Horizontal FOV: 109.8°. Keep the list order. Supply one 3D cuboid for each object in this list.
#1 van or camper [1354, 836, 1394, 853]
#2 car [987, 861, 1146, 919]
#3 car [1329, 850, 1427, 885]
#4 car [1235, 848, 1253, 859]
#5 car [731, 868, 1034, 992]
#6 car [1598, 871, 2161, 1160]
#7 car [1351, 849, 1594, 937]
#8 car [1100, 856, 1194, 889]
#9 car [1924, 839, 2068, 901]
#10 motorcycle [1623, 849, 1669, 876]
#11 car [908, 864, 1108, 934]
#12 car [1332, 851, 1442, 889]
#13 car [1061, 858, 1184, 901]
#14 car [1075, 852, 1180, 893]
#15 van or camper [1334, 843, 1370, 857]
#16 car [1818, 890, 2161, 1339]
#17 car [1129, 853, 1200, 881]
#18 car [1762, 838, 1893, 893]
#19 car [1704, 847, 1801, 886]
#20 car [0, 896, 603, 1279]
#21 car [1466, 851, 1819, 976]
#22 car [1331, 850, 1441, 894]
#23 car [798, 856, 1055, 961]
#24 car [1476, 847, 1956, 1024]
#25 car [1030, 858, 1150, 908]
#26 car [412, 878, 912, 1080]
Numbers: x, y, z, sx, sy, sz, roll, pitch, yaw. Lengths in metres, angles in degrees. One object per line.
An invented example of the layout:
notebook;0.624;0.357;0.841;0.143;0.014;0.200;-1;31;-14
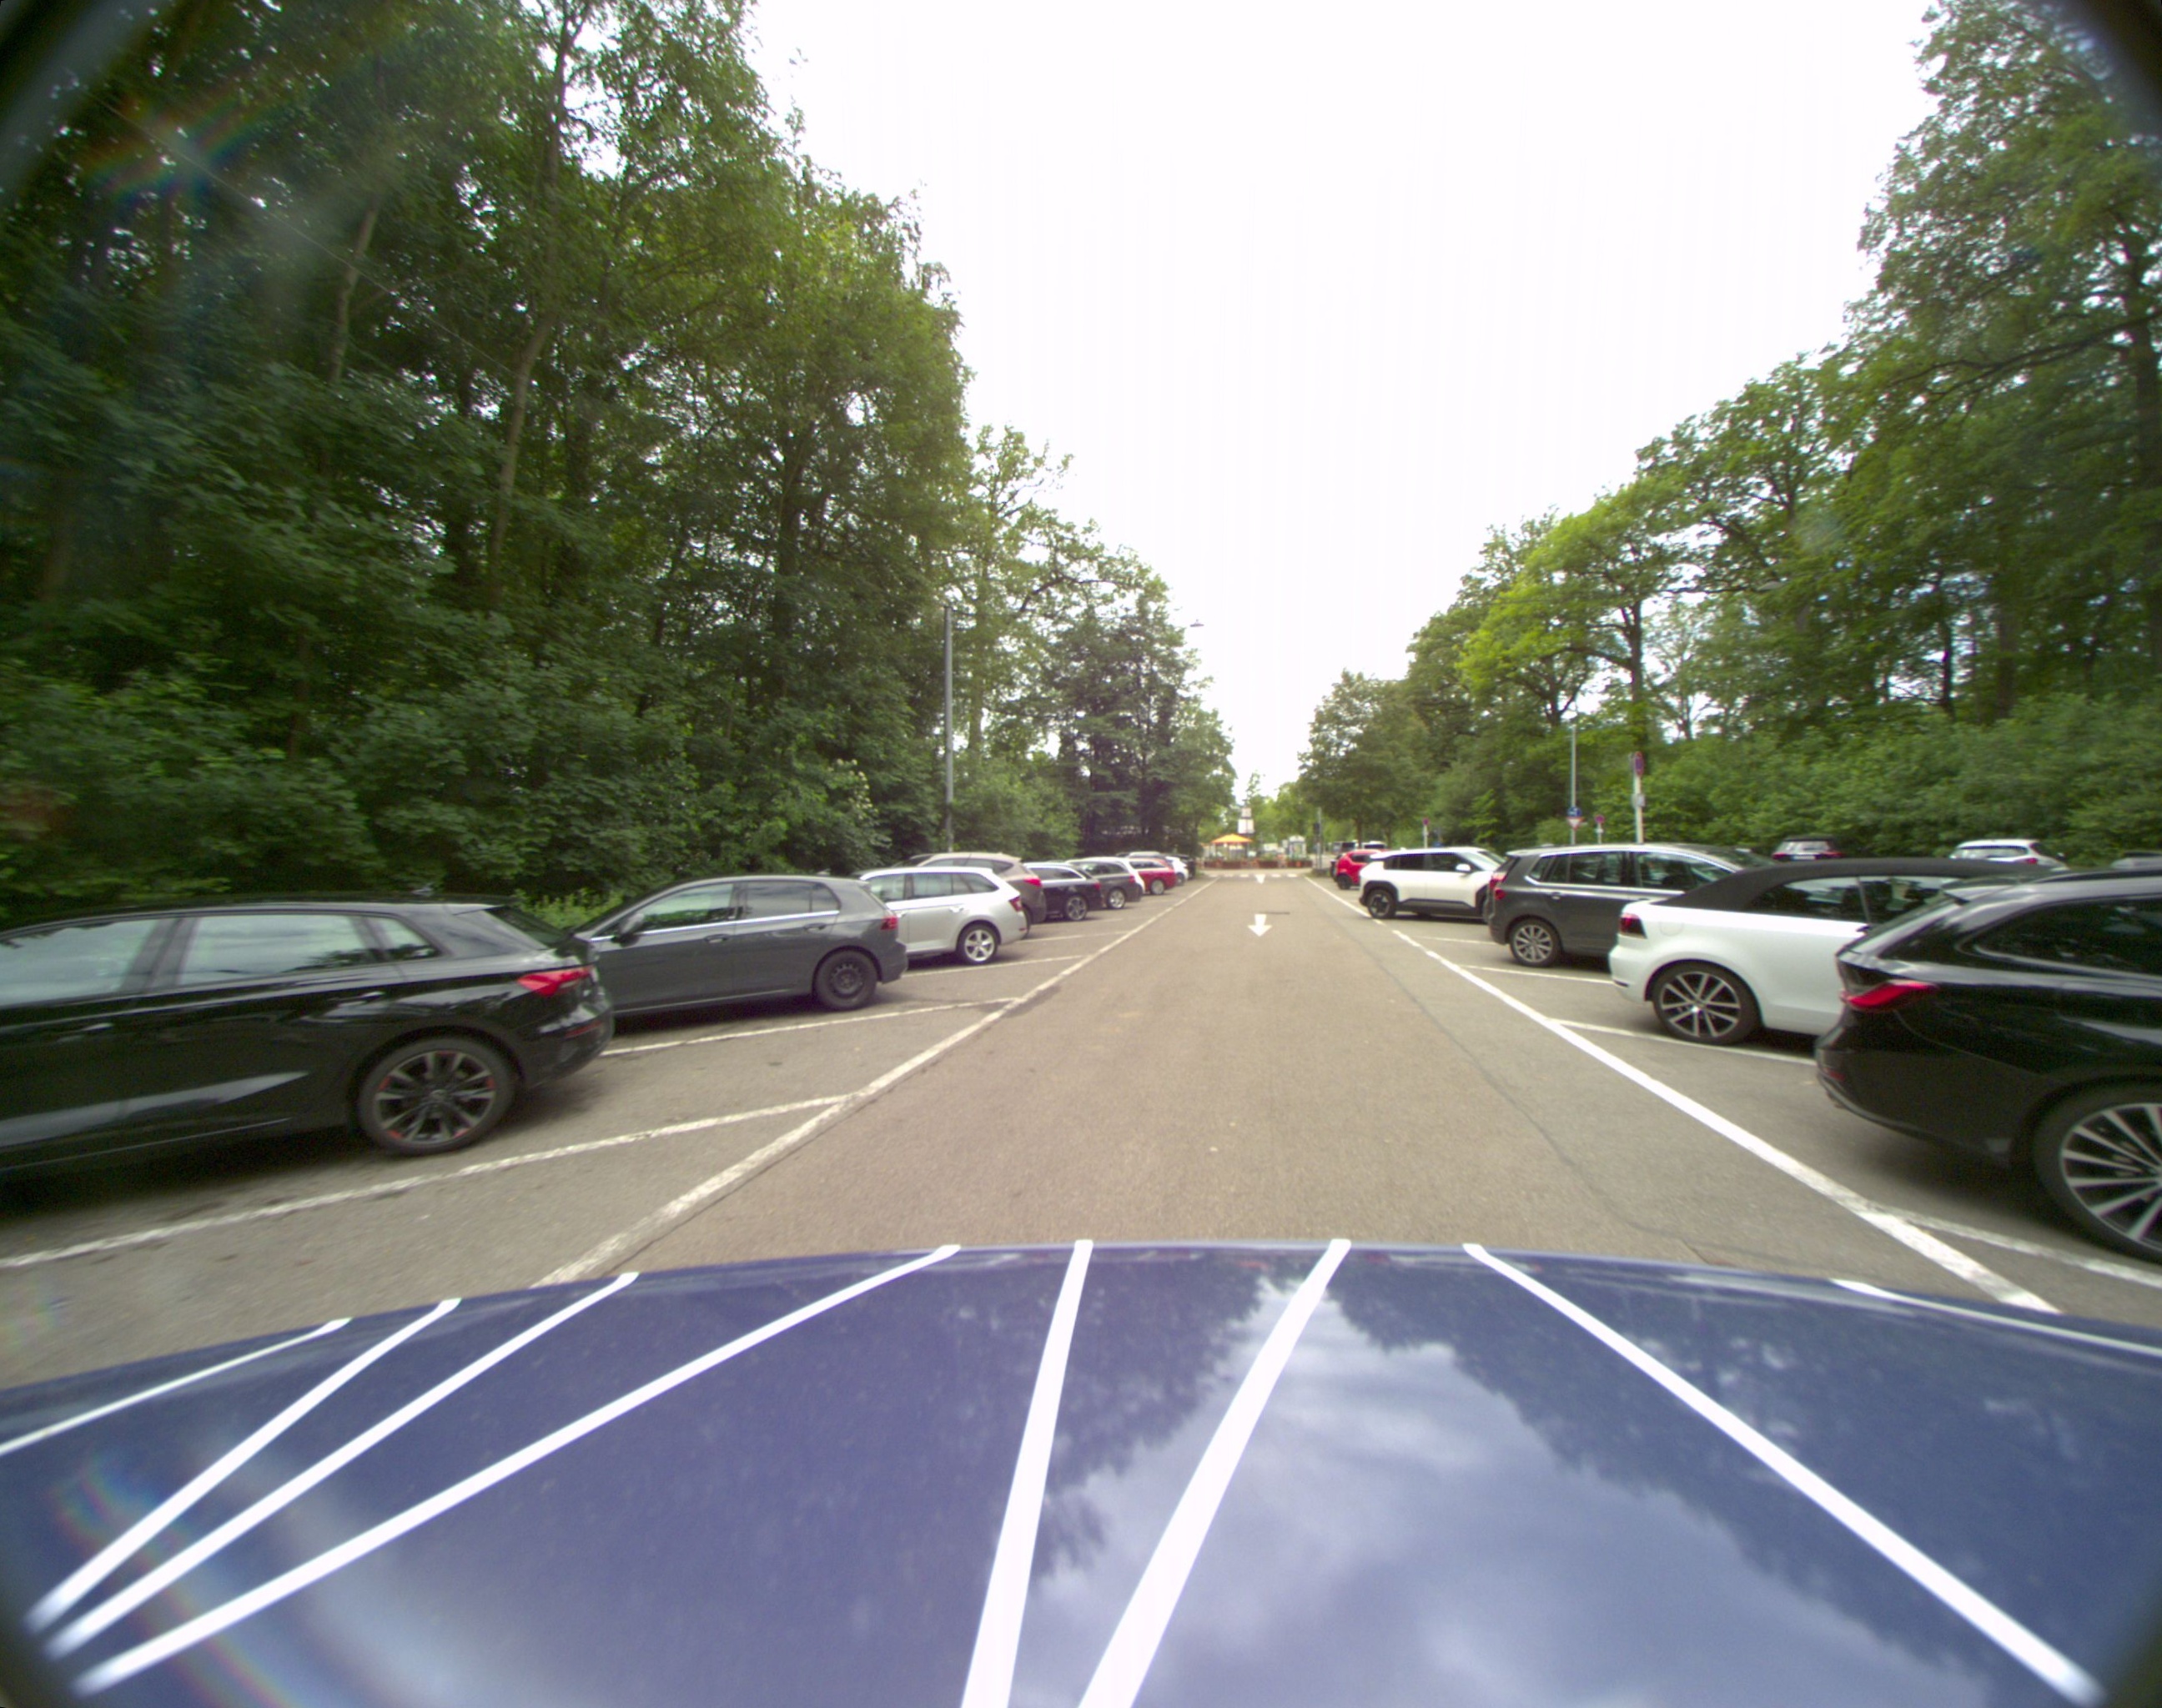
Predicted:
van or camper;51.484;-1.700;133.438;7.350;2.833;2.064;-1;1;-27
car;-0.383;0.954;21.716;4.194;1.449;1.800;-1;0;-31
car;13.964;0.602;35.955;1.833;1.514;4.091;-2;1;-29
car;27.097;-0.006;126.328;1.877;1.769;4.294;-1;0;-3
car;-2.900;0.980;11.180;4.006;1.458;1.831;-1;0;-27
car;6.022;0.877;5.090;1.775;1.435;3.836;-1;0;-31
car;8.074;0.730;16.048;1.850;1.587;4.179;-1;0;-34
car;3.162;0.850;36.214;4.125;1.430;1.865;-1;1;-28
car;24.518;0.375;20.342;4.006;1.502;1.865;-1;0;-31
motorcycle;26.404;0.371;35.497;2.031;1.201;0.729;-1;1;-21
car;-1.677;0.975;17.975;4.270;1.369;1.960;-1;0;-34
car;12.952;0.629;32.370;1.880;1.475;3.990;-2;1;-34
car;1.593;0.922;29.047;4.302;1.405;1.924;-1;1;-27
car;2.017;0.755;32.585;4.125;1.608;1.838;-1;1;-28
van or camper;55.944;-0.835;156.844;7.348;2.833;2.200;-1;1;-22
car;5.117;0.916;2.006;1.763;1.435;4.268;-1;0;-33
car;4.810;0.728;43.559;3.798;1.483;1.695;-1;1;-33
car;25.888;0.347;26.315;4.716;1.756;2.107;-1;0;-31
car;26.516;0.450;29.987;4.006;1.368;1.736;-2;1;-31
car;-5.077;1.090;4.041;4.211;1.454;1.895;-1;0;-31
car;8.374;0.756;11.642;1.877;1.545;3.989;-1;0;-38
car;11.794;0.657;29.537;1.690;1.576;3.645;-1;0;-34
car;-2.838;0.885;14.185;4.269;1.627;1.961;-1;0;-31
car;7.134;0.748;8.980;1.850;1.577;3.967;-1;0;-32
car;0.311;0.898;25.316;3.588;1.496;1.731;-1;0;-29
car;-4.002;1.032;7.796;4.006;1.414;1.905;-1;0;-32
